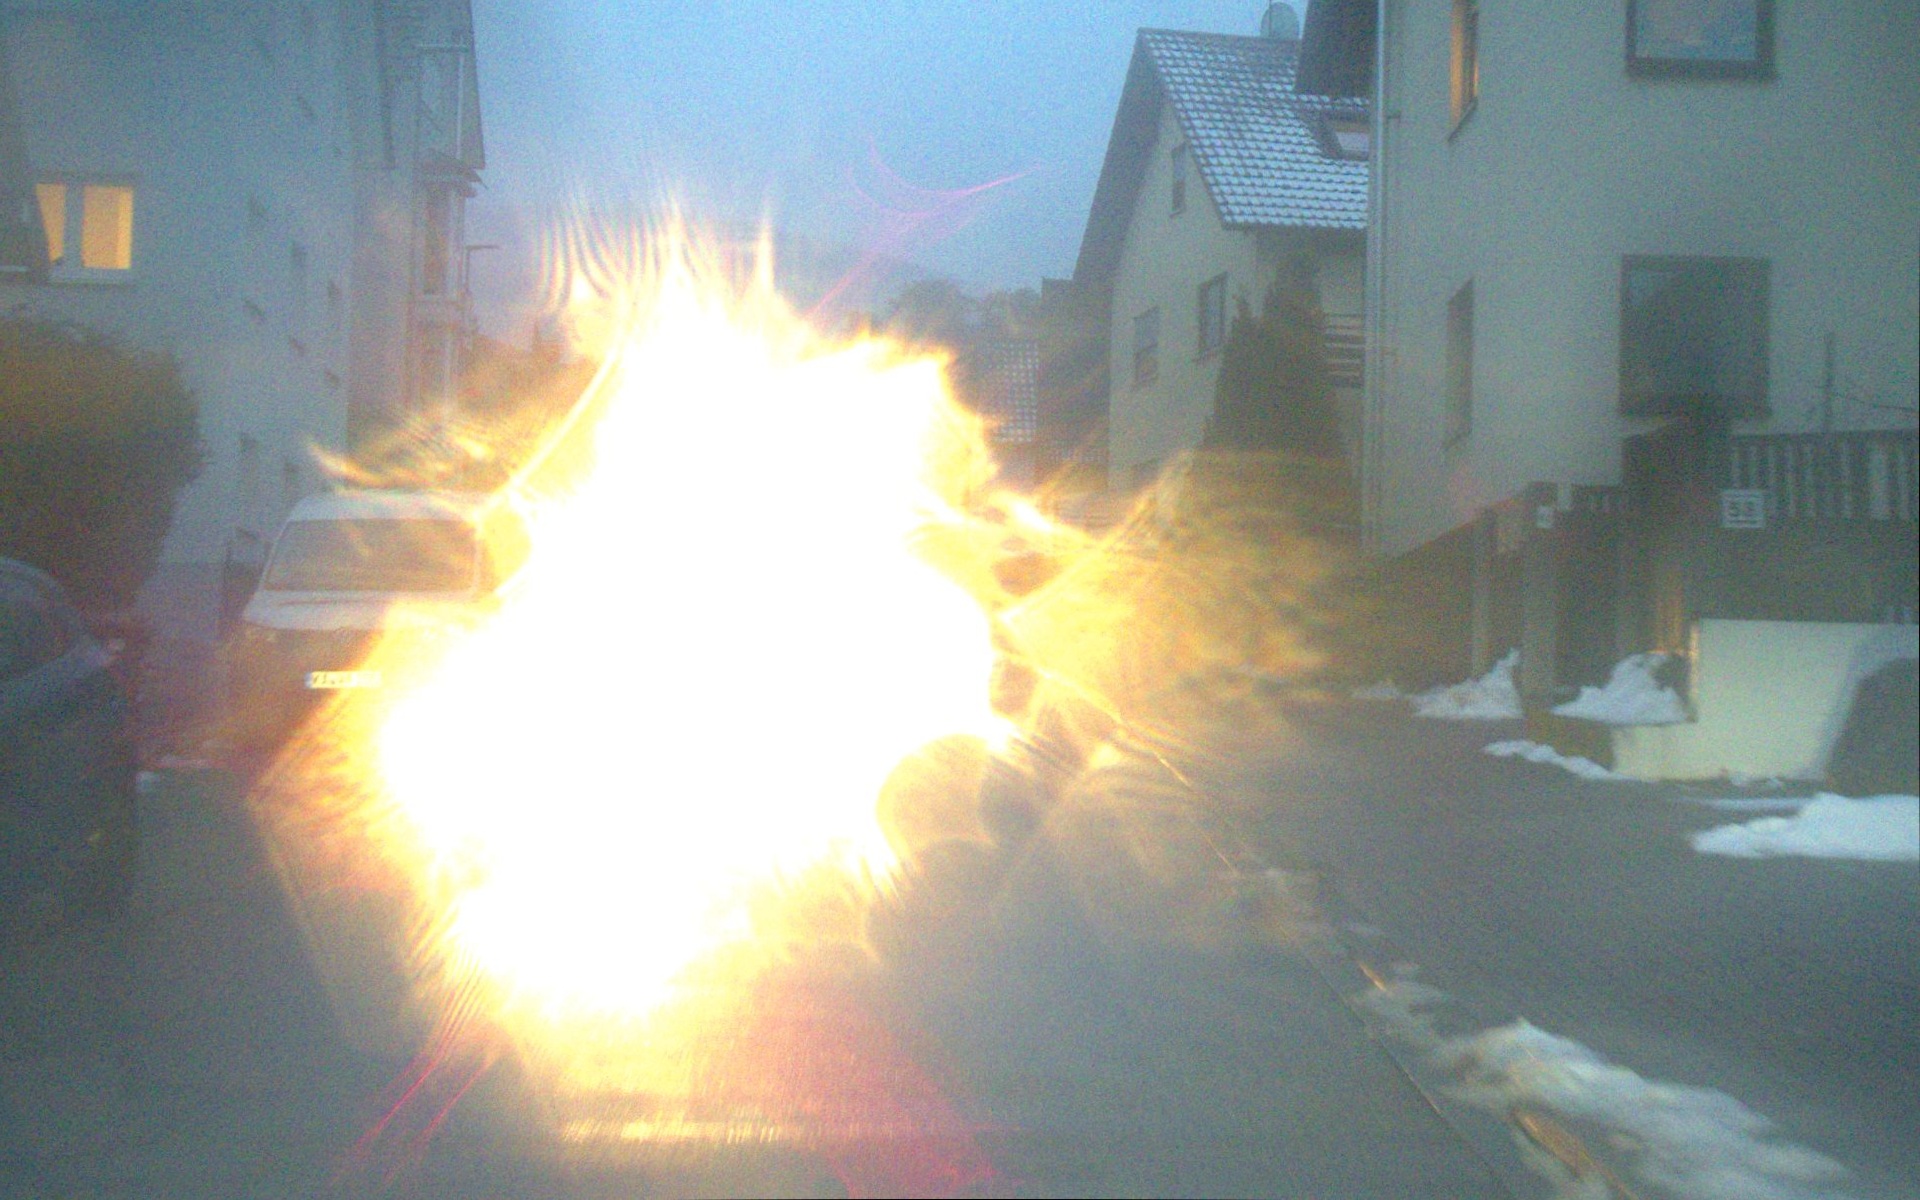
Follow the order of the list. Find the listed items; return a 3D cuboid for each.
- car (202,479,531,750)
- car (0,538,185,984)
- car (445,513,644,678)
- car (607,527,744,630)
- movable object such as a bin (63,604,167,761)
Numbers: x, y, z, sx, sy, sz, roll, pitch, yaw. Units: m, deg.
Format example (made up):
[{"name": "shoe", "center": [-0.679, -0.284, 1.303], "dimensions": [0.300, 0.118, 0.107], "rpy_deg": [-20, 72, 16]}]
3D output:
[{"name": "car", "center": [-4.301, 0.062, 25.532], "dimensions": [1.825, 1.829, 4.345], "rpy_deg": [0, 1, -2]}, {"name": "car", "center": [-4.120, 0.539, 11.974], "dimensions": [1.794, 1.498, 4.309], "rpy_deg": [0, 1, 1]}, {"name": "car", "center": [-4.751, -0.087, 39.779], "dimensions": [1.993, 1.794, 4.001], "rpy_deg": [0, 1, -3]}, {"name": "car", "center": [-4.771, -0.333, 58.159], "dimensions": [1.993, 1.644, 4.000], "rpy_deg": [-1, -1, 0]}, {"name": "movable object such as a bin", "center": [-5.313, 0.512, 21.640], "dimensions": [0.483, 0.914, 0.600], "rpy_deg": [4, 3, -3]}]
